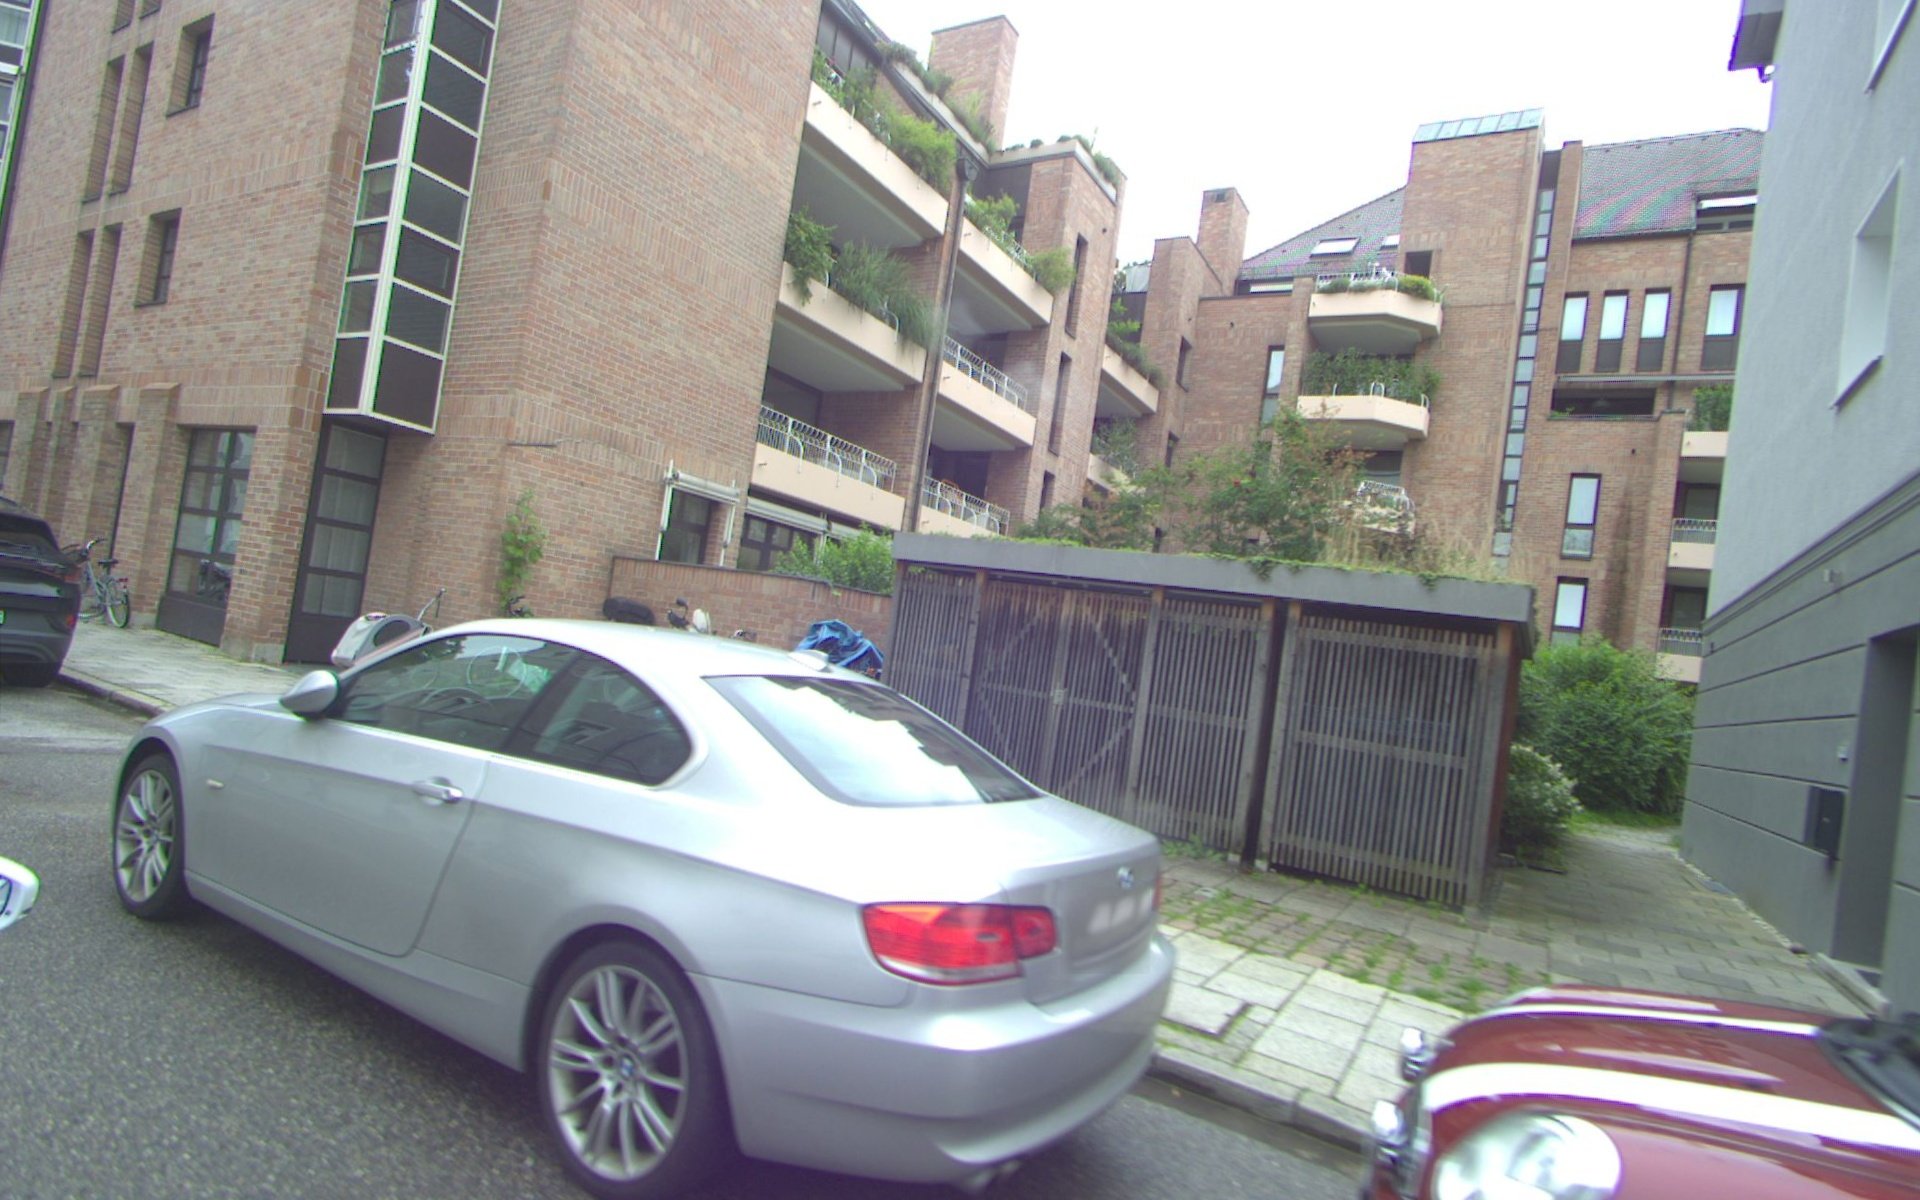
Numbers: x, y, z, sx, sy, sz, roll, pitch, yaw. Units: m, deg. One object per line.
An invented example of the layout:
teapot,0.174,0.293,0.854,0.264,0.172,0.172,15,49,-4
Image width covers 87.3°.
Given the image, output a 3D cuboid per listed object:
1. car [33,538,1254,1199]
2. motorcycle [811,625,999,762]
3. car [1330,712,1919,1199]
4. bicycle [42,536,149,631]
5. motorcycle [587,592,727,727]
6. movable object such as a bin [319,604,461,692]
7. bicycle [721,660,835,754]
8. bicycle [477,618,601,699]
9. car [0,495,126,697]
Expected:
car,-1.428,0.790,3.929,4.523,1.432,1.842,7,-3,30
motorcycle,-0.543,1.097,11.471,0.542,1.358,2.517,6,-3,36
car,2.829,1.246,1.484,4.080,1.477,1.751,7,-3,30
bicycle,-11.670,-0.228,13.568,1.447,1.091,0.561,7,-2,32
motorcycle,-3.614,0.675,11.890,1.914,1.360,0.539,6,-2,43
movable object such as a bin,-6.596,0.572,11.667,0.830,0.841,1.089,7,-3,32
bicycle,-2.086,1.204,11.439,1.299,0.869,0.375,6,-2,35
bicycle,-5.092,0.734,12.234,0.407,0.869,1.319,6,-2,31
car,-9.628,-0.288,8.891,4.316,1.572,1.892,7,-3,29
